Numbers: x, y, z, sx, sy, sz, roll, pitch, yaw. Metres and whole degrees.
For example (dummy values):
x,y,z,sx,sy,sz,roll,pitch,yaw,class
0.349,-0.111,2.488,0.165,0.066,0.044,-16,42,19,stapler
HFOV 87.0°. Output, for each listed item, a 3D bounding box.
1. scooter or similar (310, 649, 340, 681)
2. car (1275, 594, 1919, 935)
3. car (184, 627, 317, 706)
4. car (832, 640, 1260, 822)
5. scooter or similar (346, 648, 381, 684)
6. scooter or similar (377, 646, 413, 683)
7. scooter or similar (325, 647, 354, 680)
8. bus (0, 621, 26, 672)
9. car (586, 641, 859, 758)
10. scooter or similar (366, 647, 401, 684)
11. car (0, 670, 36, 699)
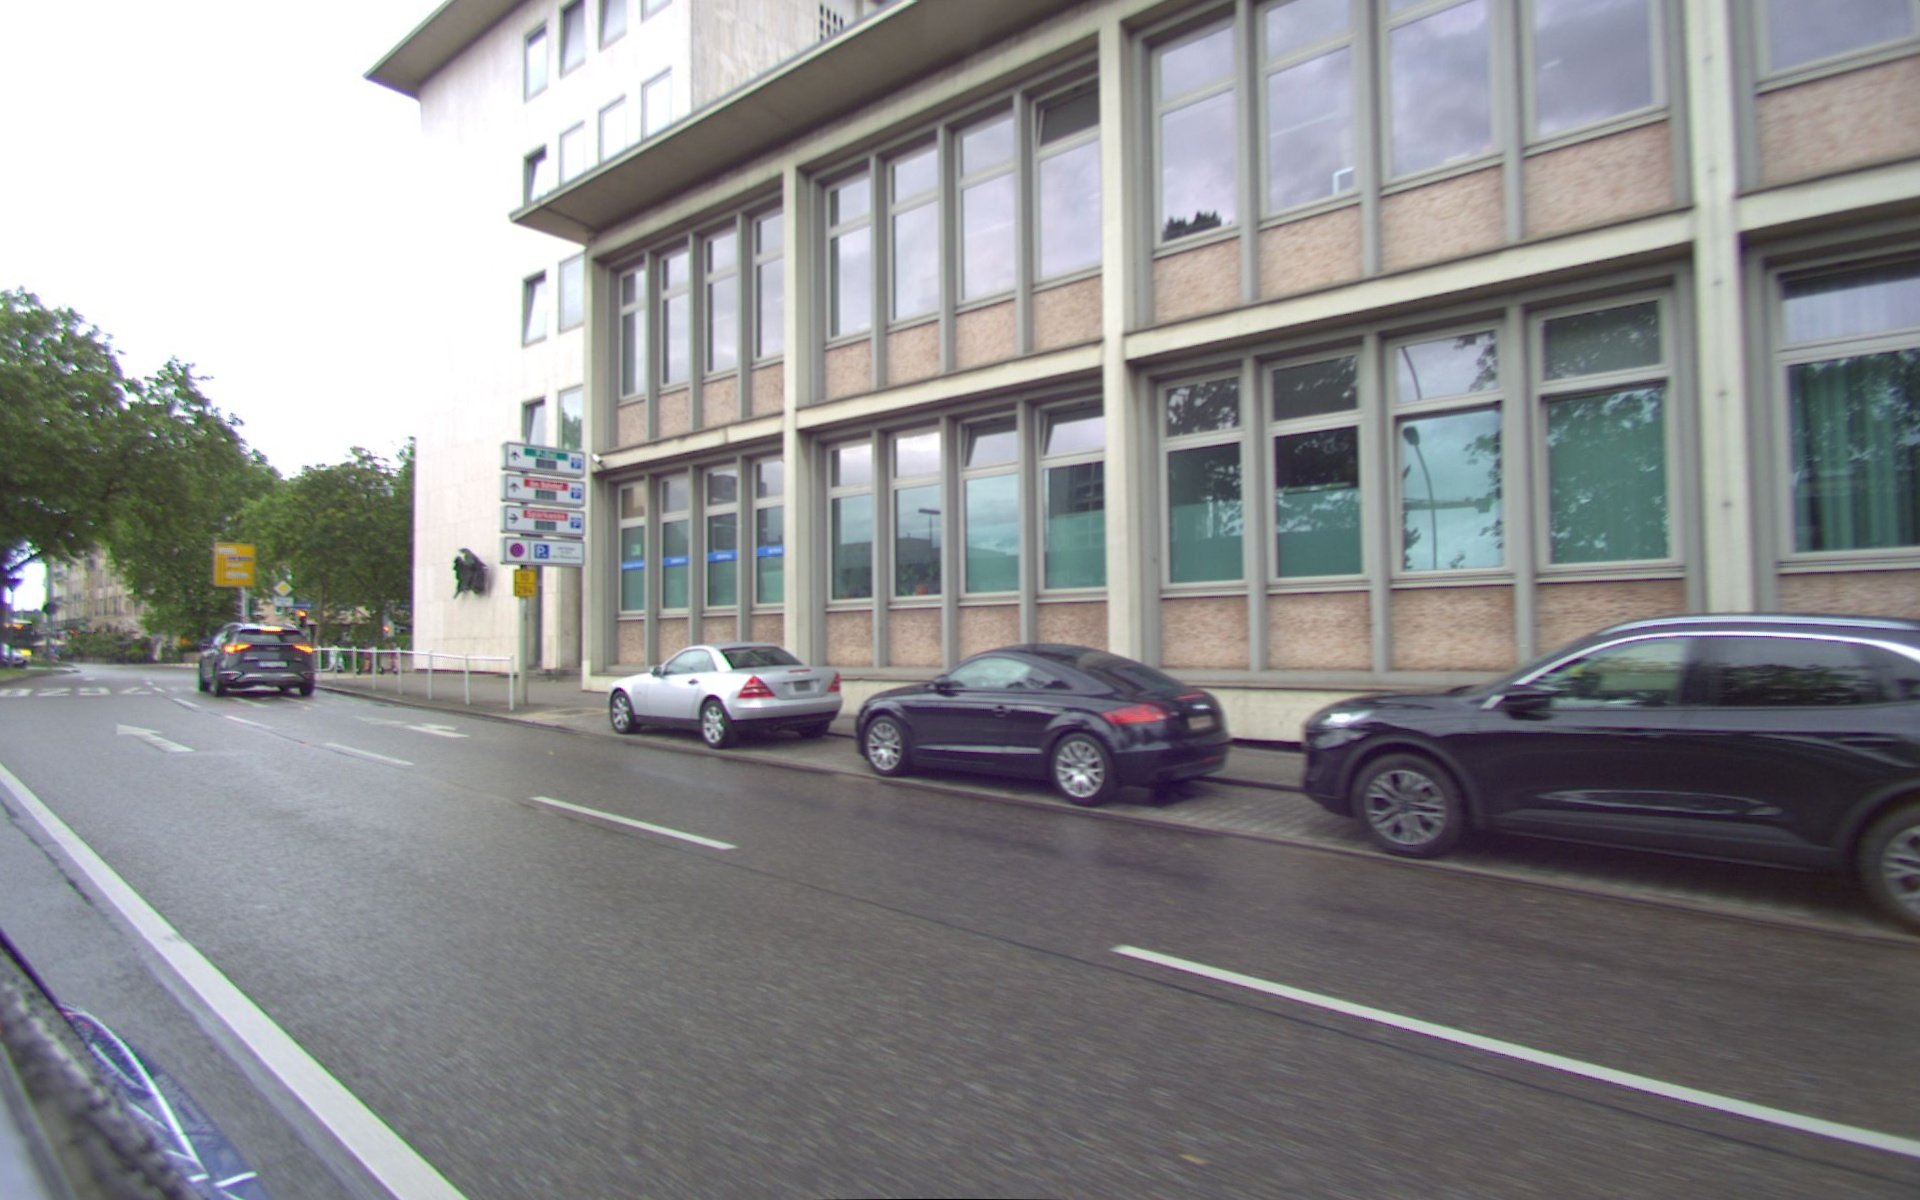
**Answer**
x,y,z,sx,sy,sz,roll,pitch,yaw,class
-24.248,2.481,38.640,1.500,1.176,0.483,-3,-4,39,scooter or similar
4.569,0.849,6.404,4.602,1.688,1.778,-2,-2,42,car
-16.582,1.494,23.567,1.800,1.673,4.340,3,-4,-44,car
0.654,1.098,9.862,4.110,1.364,1.525,-2,-2,43,car
-20.394,2.240,34.637,0.599,1.201,1.532,0,-3,-14,scooter or similar
-18.377,2.076,32.940,0.599,1.173,1.532,0,-3,-14,scooter or similar
-23.002,2.357,37.519,0.563,1.201,1.575,3,-4,-44,scooter or similar
-70.261,3.415,72.971,12.553,3.466,2.924,-3,-4,42,bus
-3.363,1.245,13.869,4.093,1.307,1.672,-2,-2,43,car
-19.295,2.194,33.892,0.599,1.201,1.532,0,-3,-14,scooter or similar
-50.459,4.390,52.856,4.391,1.420,1.805,-2,-3,27,car
